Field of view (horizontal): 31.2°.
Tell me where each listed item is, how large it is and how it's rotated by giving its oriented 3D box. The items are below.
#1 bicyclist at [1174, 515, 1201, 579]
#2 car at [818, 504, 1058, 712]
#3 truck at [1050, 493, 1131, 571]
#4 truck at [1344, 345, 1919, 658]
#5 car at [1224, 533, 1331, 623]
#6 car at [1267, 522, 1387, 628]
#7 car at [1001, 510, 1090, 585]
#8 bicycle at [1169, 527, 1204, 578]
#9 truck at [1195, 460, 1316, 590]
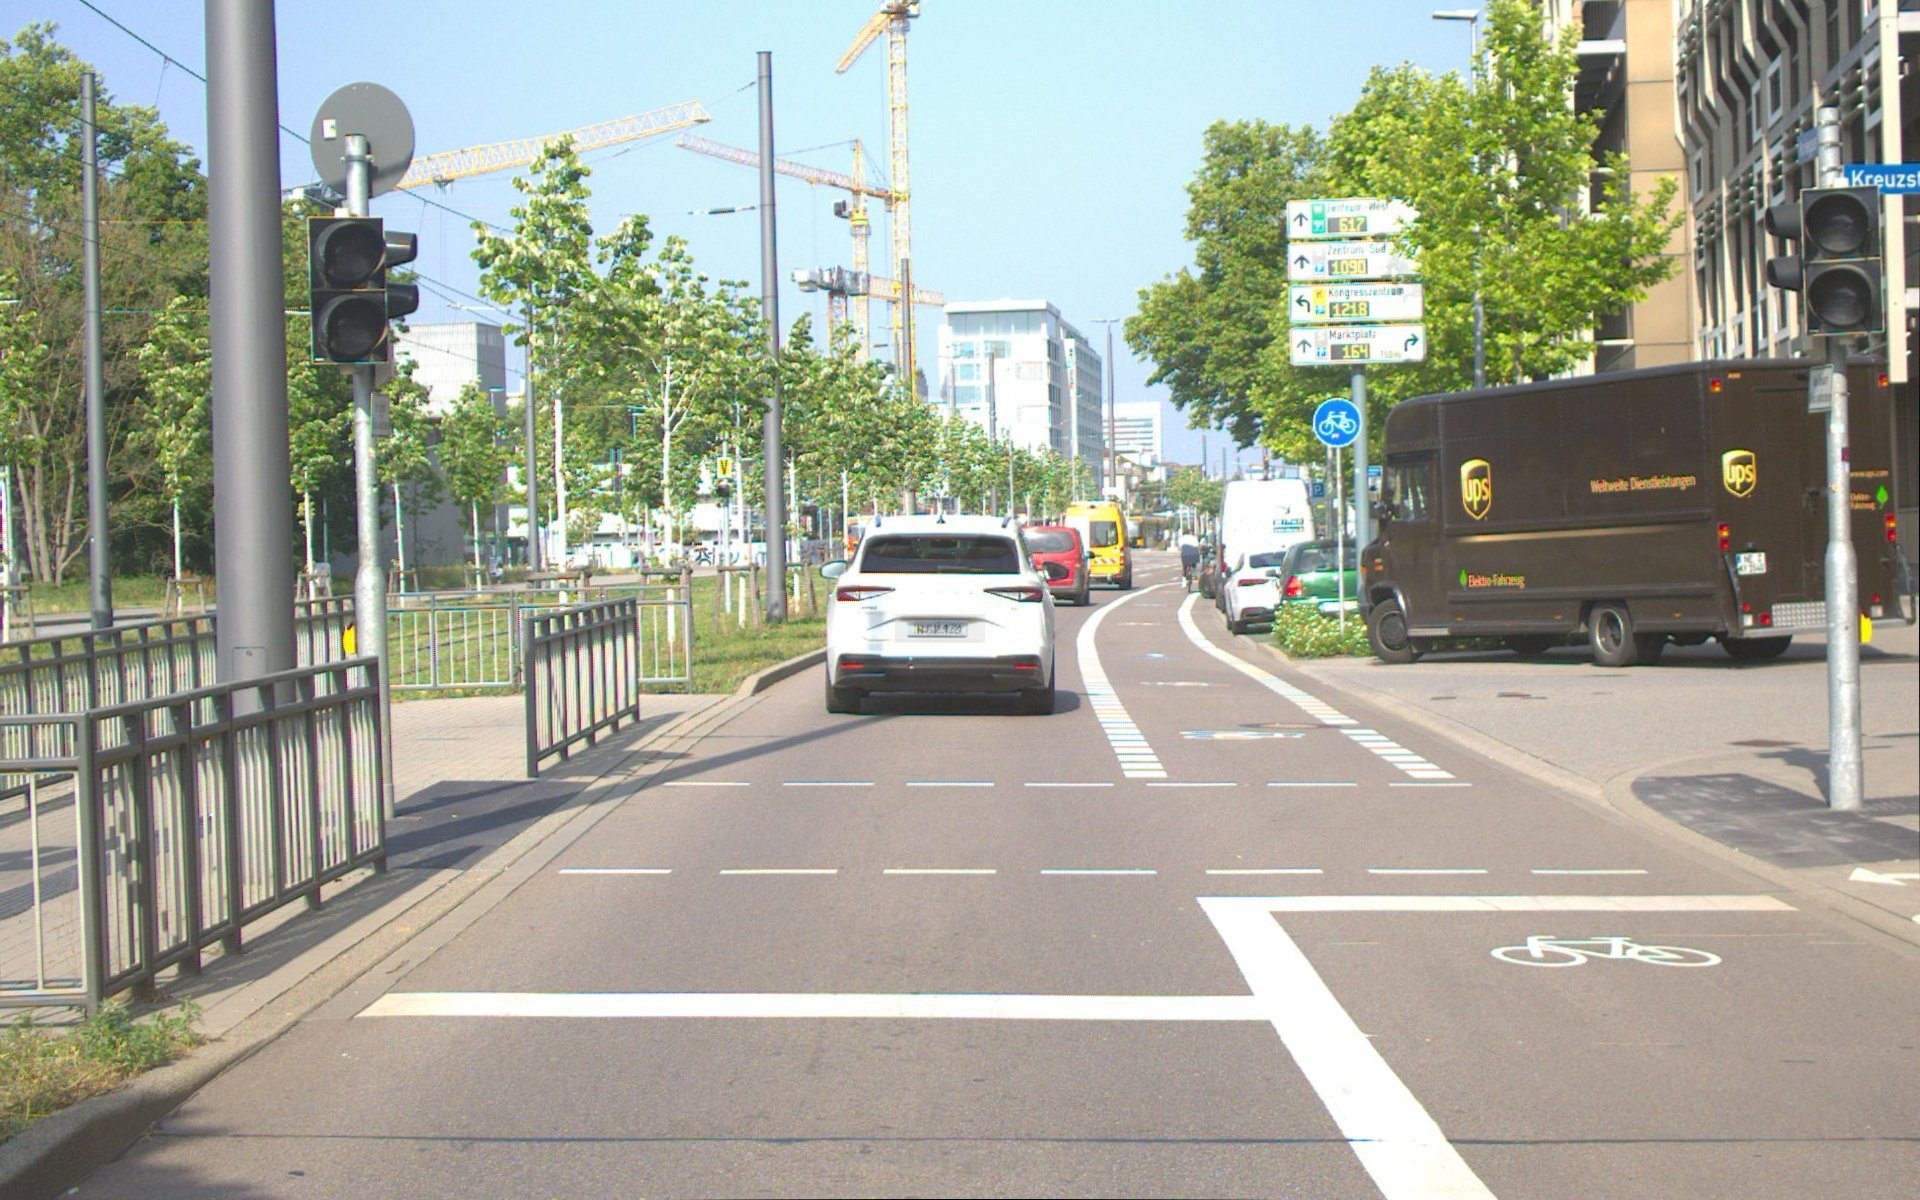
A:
[{"bbox_3d":[6.772,-1.591,102.313,0.709,1.889,0.843,-1,1,-1],"label":"bicyclist"},{"bbox_3d":[-0.257,0.024,28.724,1.817,1.584,4.407,-1,1,-3],"label":"car"},{"bbox_3d":[4.039,-2.125,107.475,2.213,2.310,5.890,-1,1,-1],"label":"truck"},{"bbox_3d":[6.991,-1.019,36.721,2.509,3.001,6.961,-2,1,-24],"label":"truck"},{"bbox_3d":[5.110,-0.379,55.624,1.650,1.380,3.526,-1,1,5],"label":"car"},{"bbox_3d":[5.432,-0.394,51.165,1.650,1.494,3.526,-1,1,5],"label":"car"},{"bbox_3d":[2.047,-1.257,81.005,1.994,1.678,4.369,-1,1,2],"label":"car"},{"bbox_3d":[6.762,-1.430,102.625,0.781,1.491,2.801,-1,1,-1],"label":"bicycle"},{"bbox_3d":[5.920,-1.514,69.264,1.993,2.500,4.000,-1,1,-1],"label":"truck"}]
